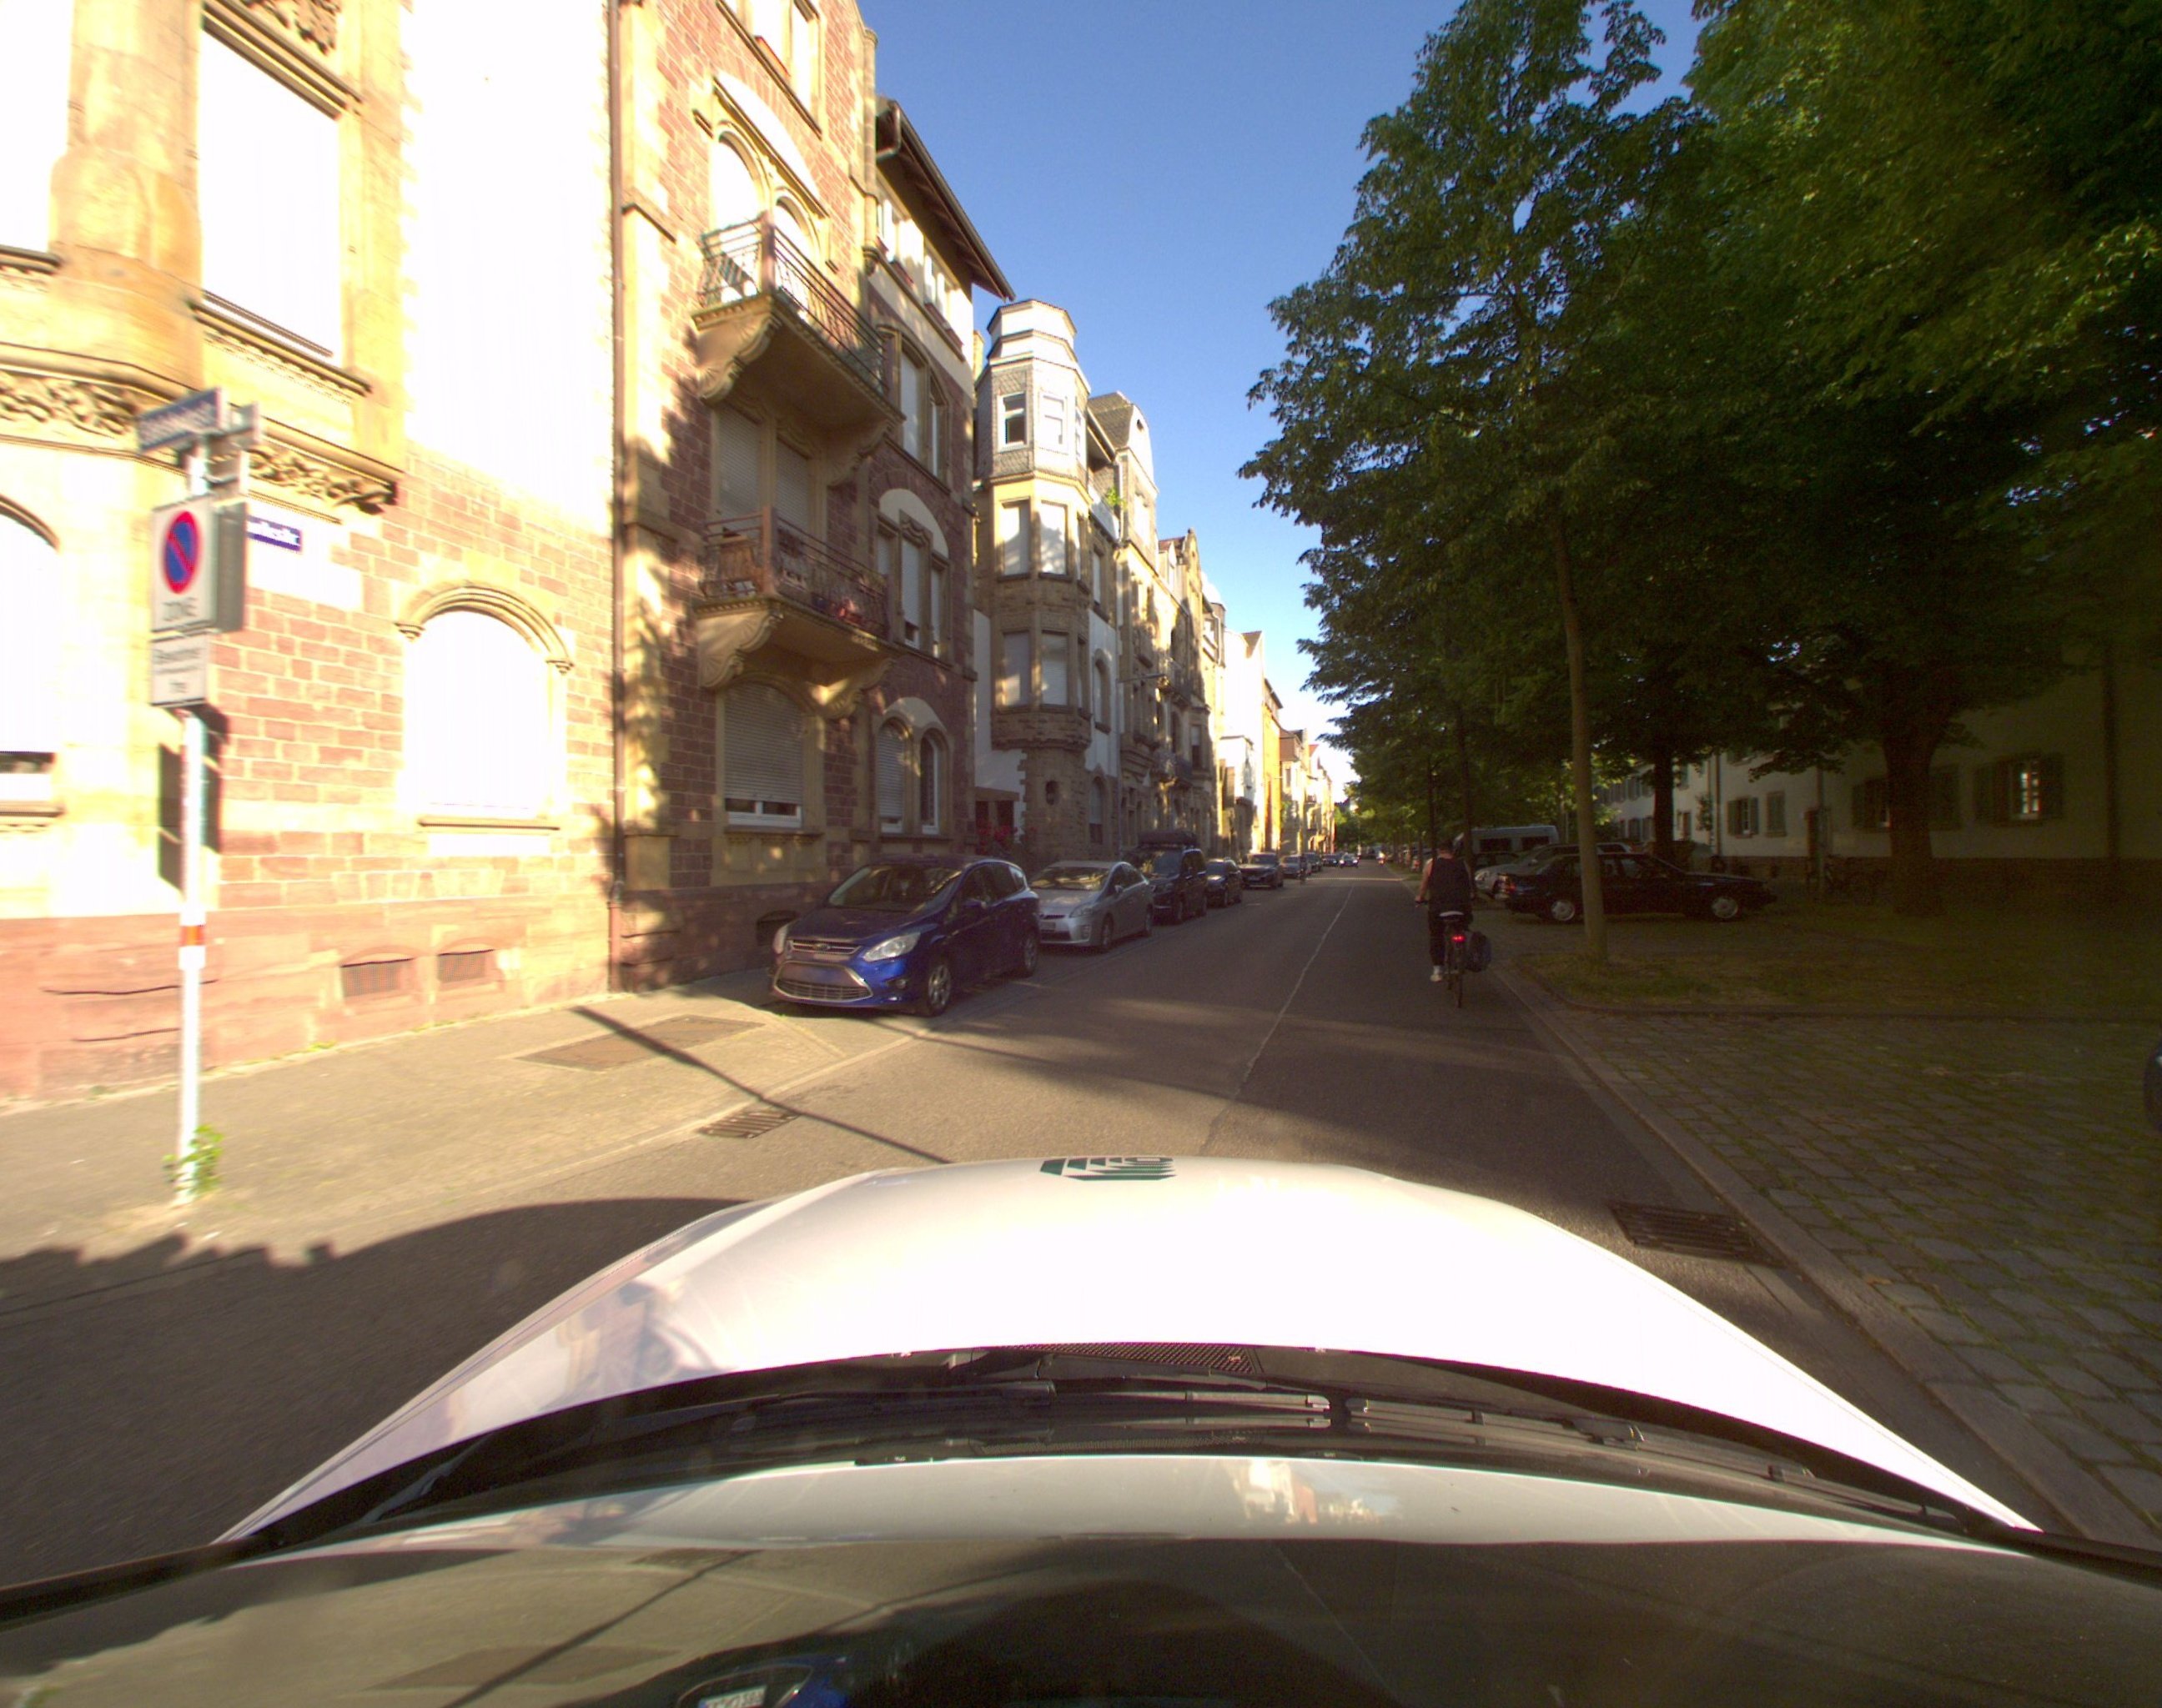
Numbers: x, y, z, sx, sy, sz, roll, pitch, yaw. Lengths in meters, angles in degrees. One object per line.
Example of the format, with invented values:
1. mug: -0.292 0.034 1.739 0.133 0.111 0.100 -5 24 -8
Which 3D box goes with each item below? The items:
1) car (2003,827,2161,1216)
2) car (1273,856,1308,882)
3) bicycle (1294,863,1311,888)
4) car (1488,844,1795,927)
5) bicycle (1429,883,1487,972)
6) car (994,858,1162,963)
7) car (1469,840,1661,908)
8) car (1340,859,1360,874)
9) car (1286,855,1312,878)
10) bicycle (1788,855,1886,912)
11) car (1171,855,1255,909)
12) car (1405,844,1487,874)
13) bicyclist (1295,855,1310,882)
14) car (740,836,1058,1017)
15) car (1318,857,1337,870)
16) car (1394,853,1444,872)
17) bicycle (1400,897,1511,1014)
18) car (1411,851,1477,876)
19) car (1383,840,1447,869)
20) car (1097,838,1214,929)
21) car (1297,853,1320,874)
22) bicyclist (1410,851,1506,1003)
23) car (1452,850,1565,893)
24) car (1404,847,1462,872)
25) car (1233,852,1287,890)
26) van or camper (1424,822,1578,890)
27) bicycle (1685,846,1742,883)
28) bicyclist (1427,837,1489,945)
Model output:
1. car: 6.095 0.583 2.400 3.955 1.555 2.009 -3 -2 17
2. car: 13.603 0.958 52.704 1.741 1.517 4.134 3 1 19
3. bicycle: 11.501 1.114 42.213 0.747 1.178 2.632 -2 0 16
4. car: 11.353 0.672 16.950 4.854 1.442 1.951 -3 -2 17
5. bicycle: 5.490 1.024 11.942 0.551 1.073 1.978 -1 1 19
6. car: 0.143 0.860 14.575 1.716 1.499 4.475 0 0 17
7. car: 14.000 0.574 23.884 4.440 1.670 1.951 -4 0 17
8. car: 28.640 1.346 86.762 1.882 1.486 4.400 -1 -1 17
9. car: 15.561 0.853 58.020 1.479 1.517 3.793 3 1 19
10. bicycle: 16.265 0.605 17.582 0.624 1.163 1.941 -1 0 12
11. car: 4.348 0.876 26.259 1.715 1.574 4.732 -1 -1 21
12. car: 21.655 0.317 48.464 4.210 1.606 1.761 -2 -2 16
13. bicyclist: 11.485 0.751 42.191 0.660 1.345 1.065 -2 0 16
14. car: -1.801 0.681 9.620 1.716 1.622 4.278 0 -1 18
15. car: 29.274 1.118 96.551 1.977 1.486 4.018 -1 -1 18
16. car: 35.649 0.948 86.049 4.716 1.780 1.864 -3 -2 20
17. bicycle: 4.052 1.046 8.973 0.691 1.073 1.975 -1 -1 12
18. car: 26.438 0.698 59.429 4.207 1.647 1.864 -3 -2 20
19. car: 41.637 0.101 101.755 7.270 3.282 2.234 -3 -2 20
20. car: 1.986 0.621 20.227 1.953 1.974 4.518 0 0 17
21. car: 18.800 0.784 67.191 1.617 1.665 3.987 -1 -1 18
22. bicyclist: 4.028 0.751 8.772 0.701 1.527 0.975 -1 -1 11
23. car: 16.061 0.671 30.779 3.472 1.472 1.760 -2 -2 18
24. car: 28.707 0.465 66.530 4.207 1.840 1.864 -3 -2 20
25. car: 8.259 0.788 37.301 2.033 1.622 4.415 -1 -1 17
26. van or camper: 18.119 0.132 35.477 5.529 2.537 2.279 -3 -2 17
27. bicycle: 24.587 0.398 31.707 0.795 1.399 2.008 -1 0 7
28. bicyclist: 5.587 0.537 12.116 0.712 1.527 0.976 -1 -1 19
